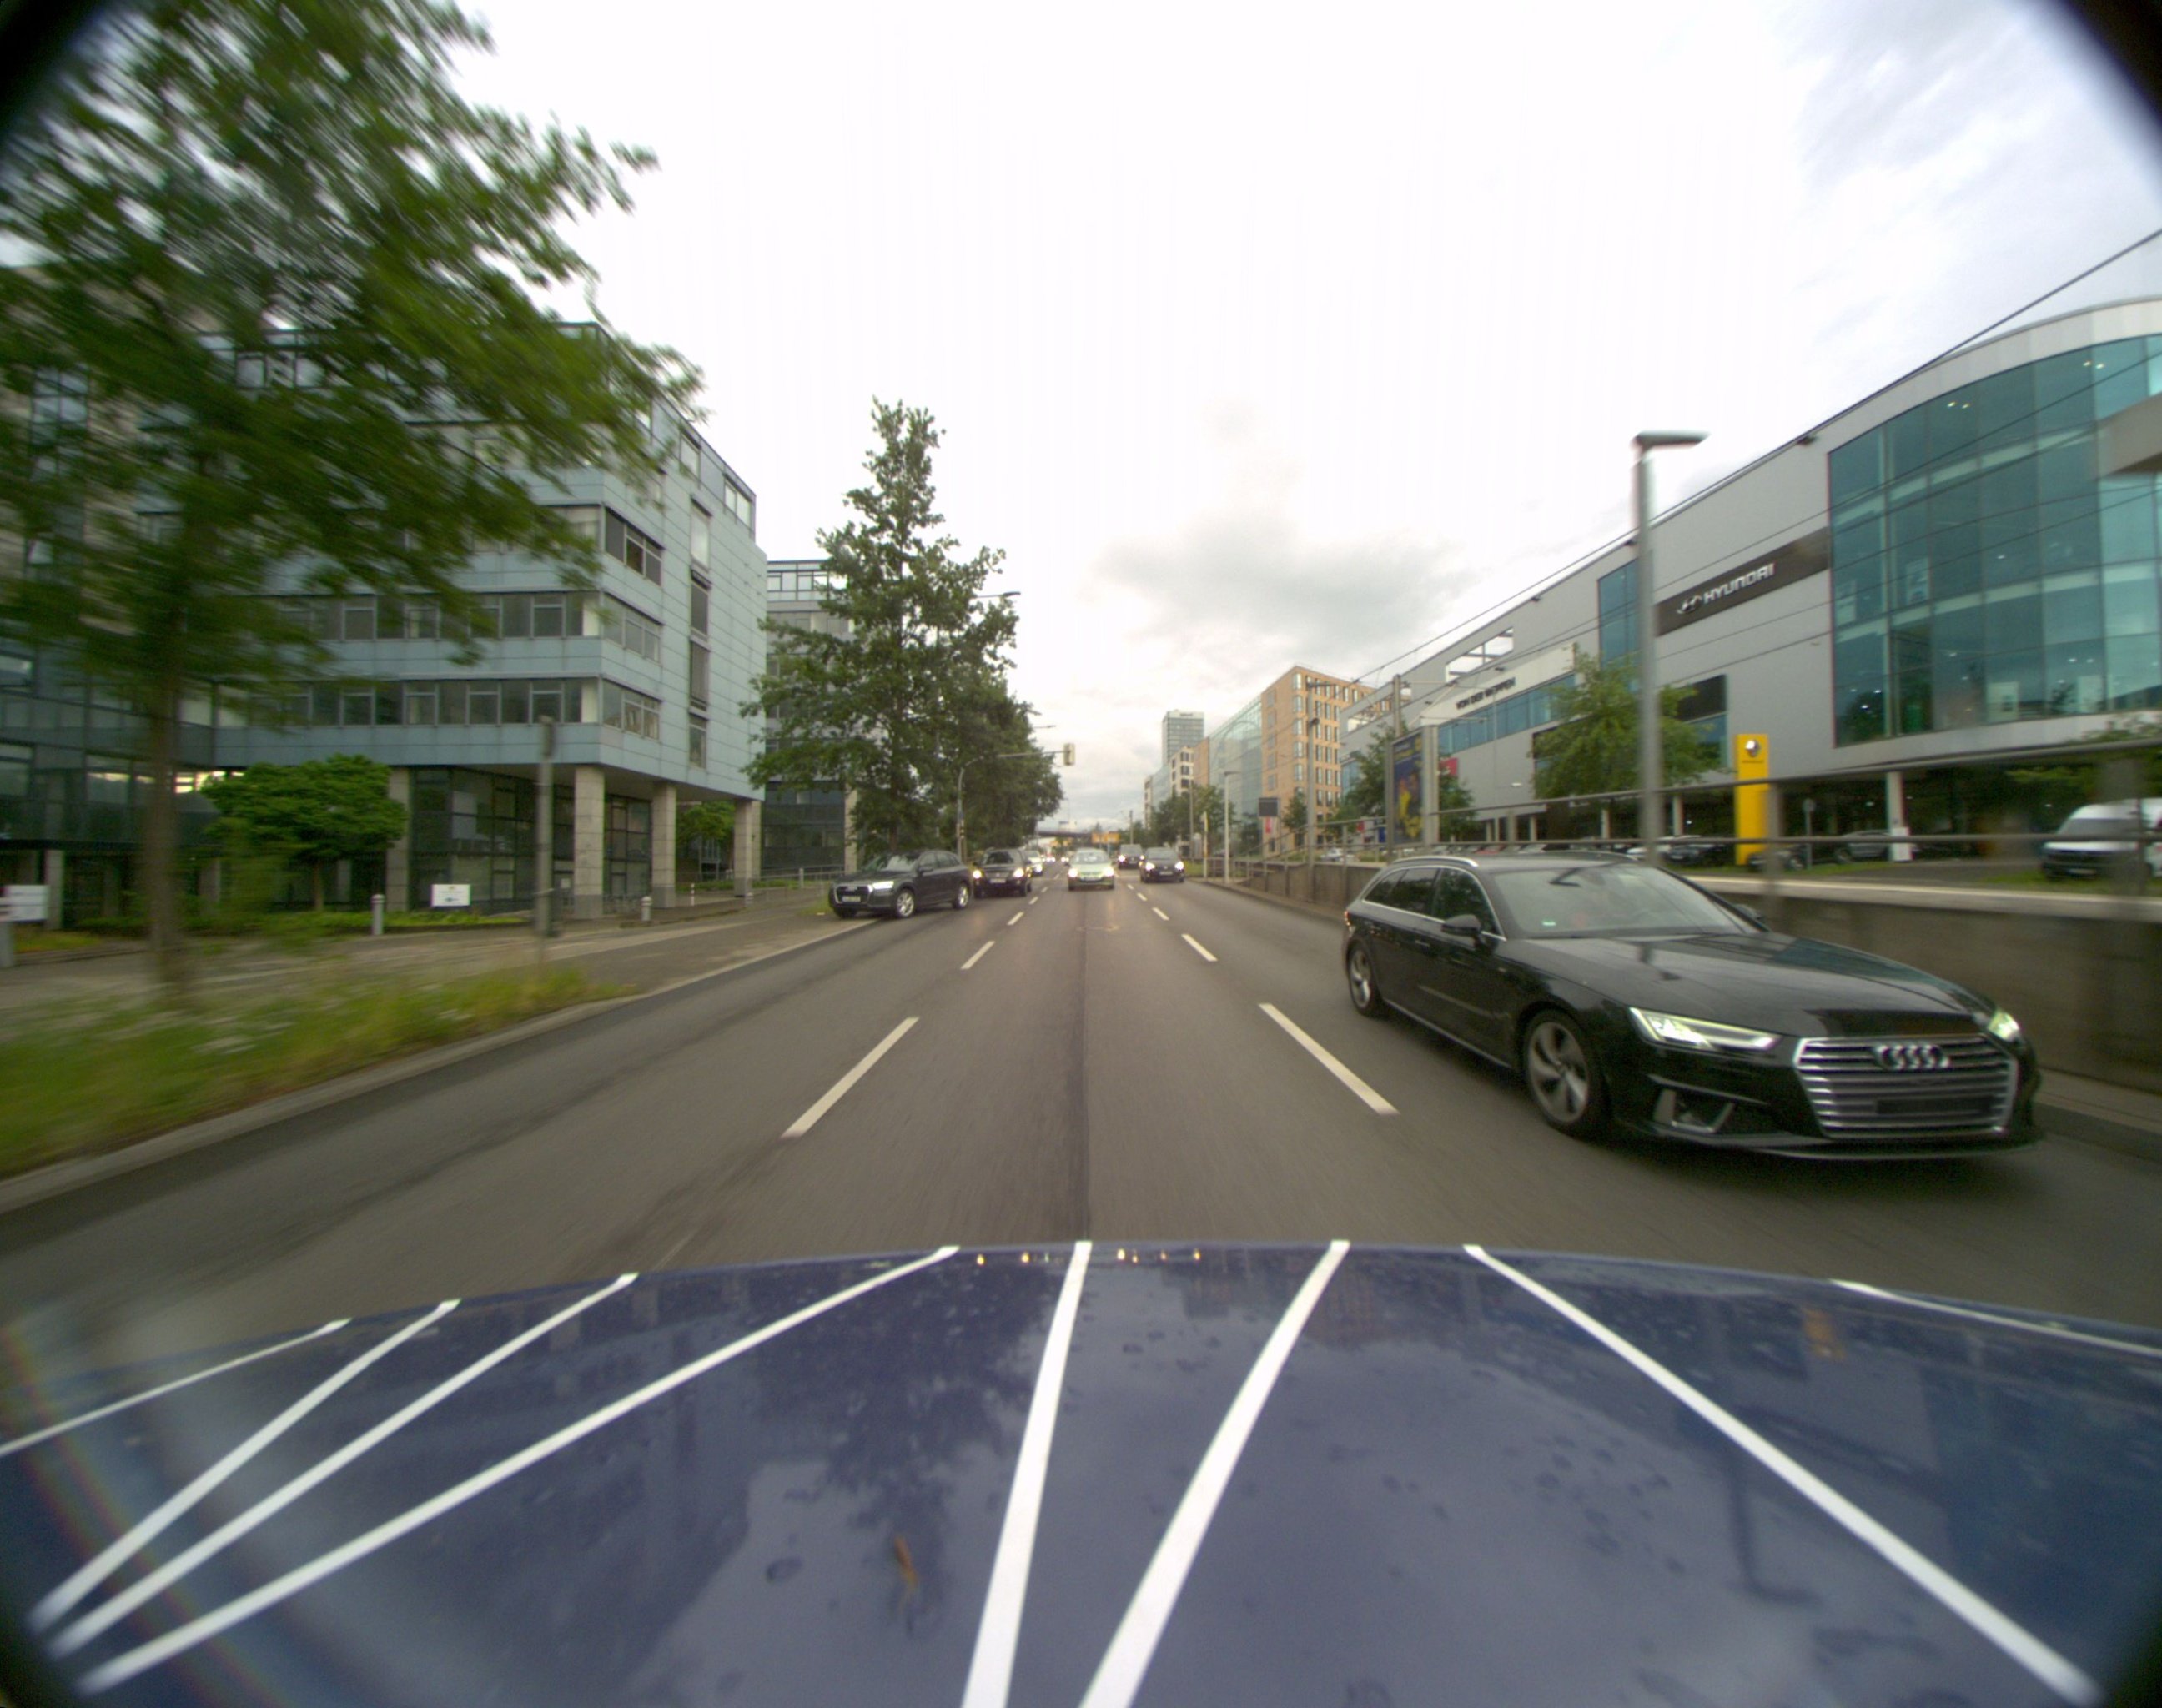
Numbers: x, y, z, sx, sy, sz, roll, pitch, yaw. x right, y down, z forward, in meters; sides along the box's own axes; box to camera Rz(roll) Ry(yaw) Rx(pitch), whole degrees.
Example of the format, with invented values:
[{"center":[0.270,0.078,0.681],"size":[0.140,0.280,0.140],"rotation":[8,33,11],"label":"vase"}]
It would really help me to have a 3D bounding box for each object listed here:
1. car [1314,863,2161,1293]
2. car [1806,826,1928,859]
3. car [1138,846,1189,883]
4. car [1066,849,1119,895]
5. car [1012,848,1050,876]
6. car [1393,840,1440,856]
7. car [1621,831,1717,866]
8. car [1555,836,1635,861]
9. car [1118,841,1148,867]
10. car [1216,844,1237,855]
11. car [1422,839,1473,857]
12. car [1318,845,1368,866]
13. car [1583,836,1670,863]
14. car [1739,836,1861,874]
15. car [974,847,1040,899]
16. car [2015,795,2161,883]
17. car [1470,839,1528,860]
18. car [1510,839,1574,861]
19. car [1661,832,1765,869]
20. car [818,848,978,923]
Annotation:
[{"center":[3.214,0.841,5.157],"size":[1.794,1.426,4.828],"rotation":[-1,0,0],"label":"car"},{"center":[38.328,-0.546,37.134],"size":[1.775,1.461,3.989],"rotation":[-2,1,-38],"label":"car"},{"center":[3.530,0.408,33.118],"size":[1.798,1.493,4.000],"rotation":[-1,0,1],"label":"car"},{"center":[0.424,0.612,28.426],"size":[1.803,1.533,4.374],"rotation":[-1,0,0],"label":"car"},{"center":[-2.883,0.421,44.767],"size":[1.873,1.533,4.106],"rotation":[-1,0,0],"label":"car"},{"center":[32.119,-0.582,72.745],"size":[3.845,1.482,1.821],"rotation":[-2,1,-18],"label":"car"},{"center":[32.709,-0.331,42.319],"size":[3.999,1.652,1.921],"rotation":[-4,1,-6],"label":"car"},{"center":[32.719,-0.342,48.436],"size":[3.999,1.482,1.823],"rotation":[-2,1,-6],"label":"car"},{"center":[3.495,-0.002,51.513],"size":[1.781,1.670,4.130],"rotation":[-1,0,0],"label":"car"},{"center":[20.000,-0.624,104.613],"size":[1.998,1.428,4.872],"rotation":[-2,1,0],"label":"car"},{"center":[32.457,-0.494,67.307],"size":[3.845,1.482,1.821],"rotation":[-2,1,-18],"label":"car"},{"center":[19.198,0.069,55.944],"size":[1.998,1.381,4.872],"rotation":[-2,1,0],"label":"car"},{"center":[32.467,-0.278,45.267],"size":[3.999,1.482,1.823],"rotation":[-2,1,-6],"label":"car"},{"center":[32.480,0.027,34.366],"size":[3.999,1.499,1.896],"rotation":[-2,1,-8],"label":"car"},{"center":[-2.507,0.606,26.926],"size":[1.816,1.660,4.548],"rotation":[-1,0,0],"label":"car"},{"center":[33.904,-0.546,24.873],"size":[5.488,2.614,2.275],"rotation":[-3,1,-17],"label":"car"},{"center":[32.539,-0.373,59.126],"size":[3.845,1.482,1.821],"rotation":[-2,1,-18],"label":"car"},{"center":[32.822,-0.281,54.073],"size":[3.845,1.482,1.821],"rotation":[-2,1,-18],"label":"car"},{"center":[32.842,-0.175,39.541],"size":[3.999,1.652,1.921],"rotation":[-3,1,-6],"label":"car"},{"center":[-4.501,0.717,19.486],"size":[1.813,1.660,4.376],"rotation":[-1,1,20],"label":"car"}]
